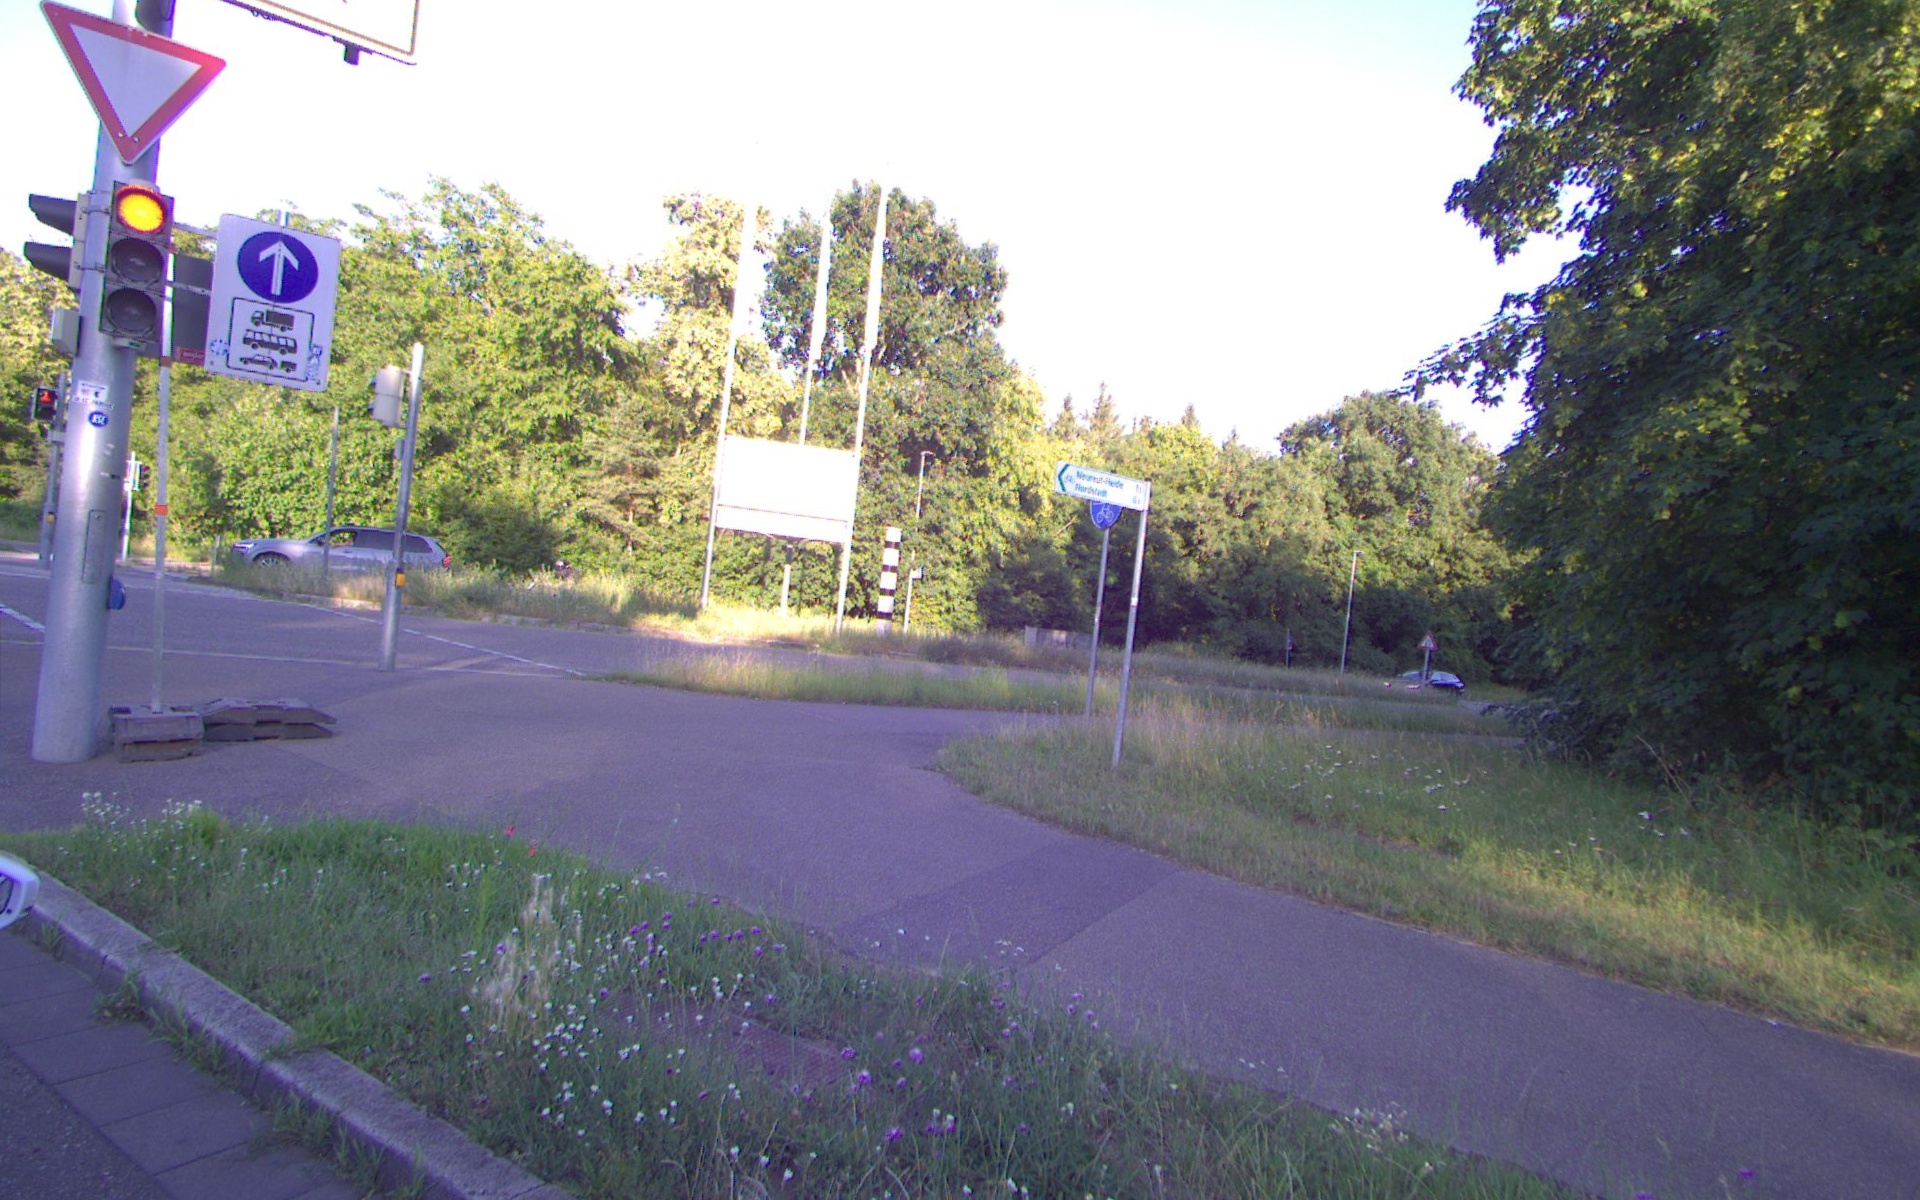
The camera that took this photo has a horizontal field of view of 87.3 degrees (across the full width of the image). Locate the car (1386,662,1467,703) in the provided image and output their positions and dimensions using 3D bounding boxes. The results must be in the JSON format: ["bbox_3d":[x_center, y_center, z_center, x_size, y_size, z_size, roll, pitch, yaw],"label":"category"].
[{"bbox_3d":[22.316,3.945,48.087,3.840,1.507,1.754,7,-1,-36],"label":"car"}]

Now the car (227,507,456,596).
[{"bbox_3d":[-15.917,-1.205,26.006,4.790,1.618,1.980,7,0,-37],"label":"car"}]

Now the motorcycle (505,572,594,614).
[{"bbox_3d":[-11.430,-0.188,28.073,2.133,0.921,0.655,7,0,-37],"label":"motorcycle"}]

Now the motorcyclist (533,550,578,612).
[{"bbox_3d":[-11.305,-0.519,28.130,0.881,1.614,0.648,6,0,-37],"label":"motorcyclist"}]
